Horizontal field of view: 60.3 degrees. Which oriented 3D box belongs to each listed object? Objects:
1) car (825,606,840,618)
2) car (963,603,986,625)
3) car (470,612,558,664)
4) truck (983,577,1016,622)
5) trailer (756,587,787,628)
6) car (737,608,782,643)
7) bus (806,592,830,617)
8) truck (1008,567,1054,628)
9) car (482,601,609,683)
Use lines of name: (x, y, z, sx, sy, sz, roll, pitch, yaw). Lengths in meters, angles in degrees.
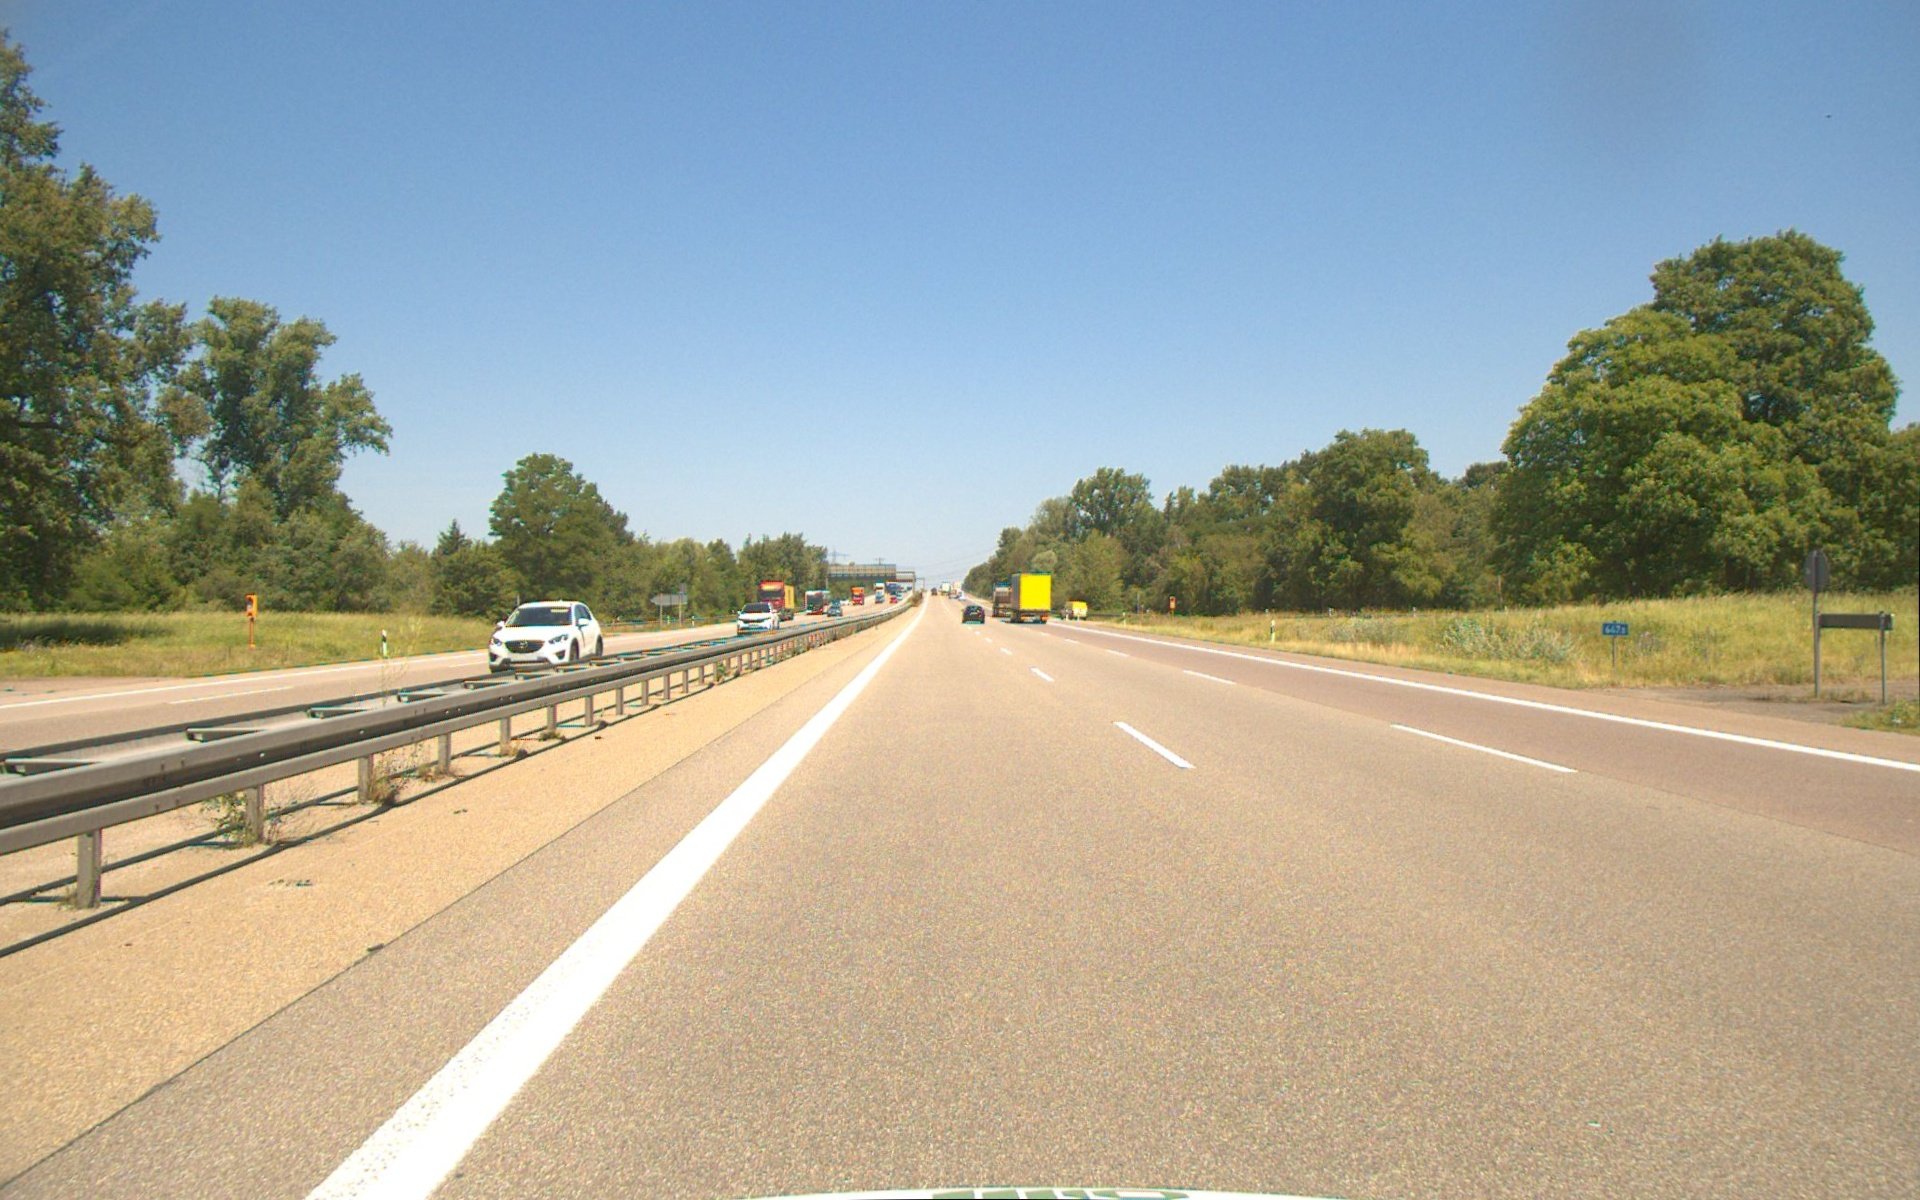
car: (-15.870, 1.482, 206.104, 1.686, 1.404, 4.784, -4, -1, -2)
car: (1.161, 1.115, 134.173, 1.790, 1.736, 3.999, 1, 0, -1)
car: (-14.357, 1.191, 53.435, 1.726, 1.521, 4.074, -2, 0, -1)
truck: (4.524, -0.001, 192.612, 3.298, 4.966, 15.084, 1, 0, 0)
trailer: (-19.520, 0.772, 171.761, 2.550, 4.061, 6.028, 1, 0, -1)
car: (-10.481, 1.306, 86.643, 1.774, 1.722, 5.124, -1, 0, -1)
bus: (-20.555, 0.589, 239.435, 2.707, 3.507, 8.930, -1, 0, -1)
truck: (6.074, -0.216, 143.835, 3.308, 4.966, 15.084, 1, 0, 0)
car: (-9.325, 0.892, 37.604, 1.726, 1.722, 4.818, -1, 0, -1)
